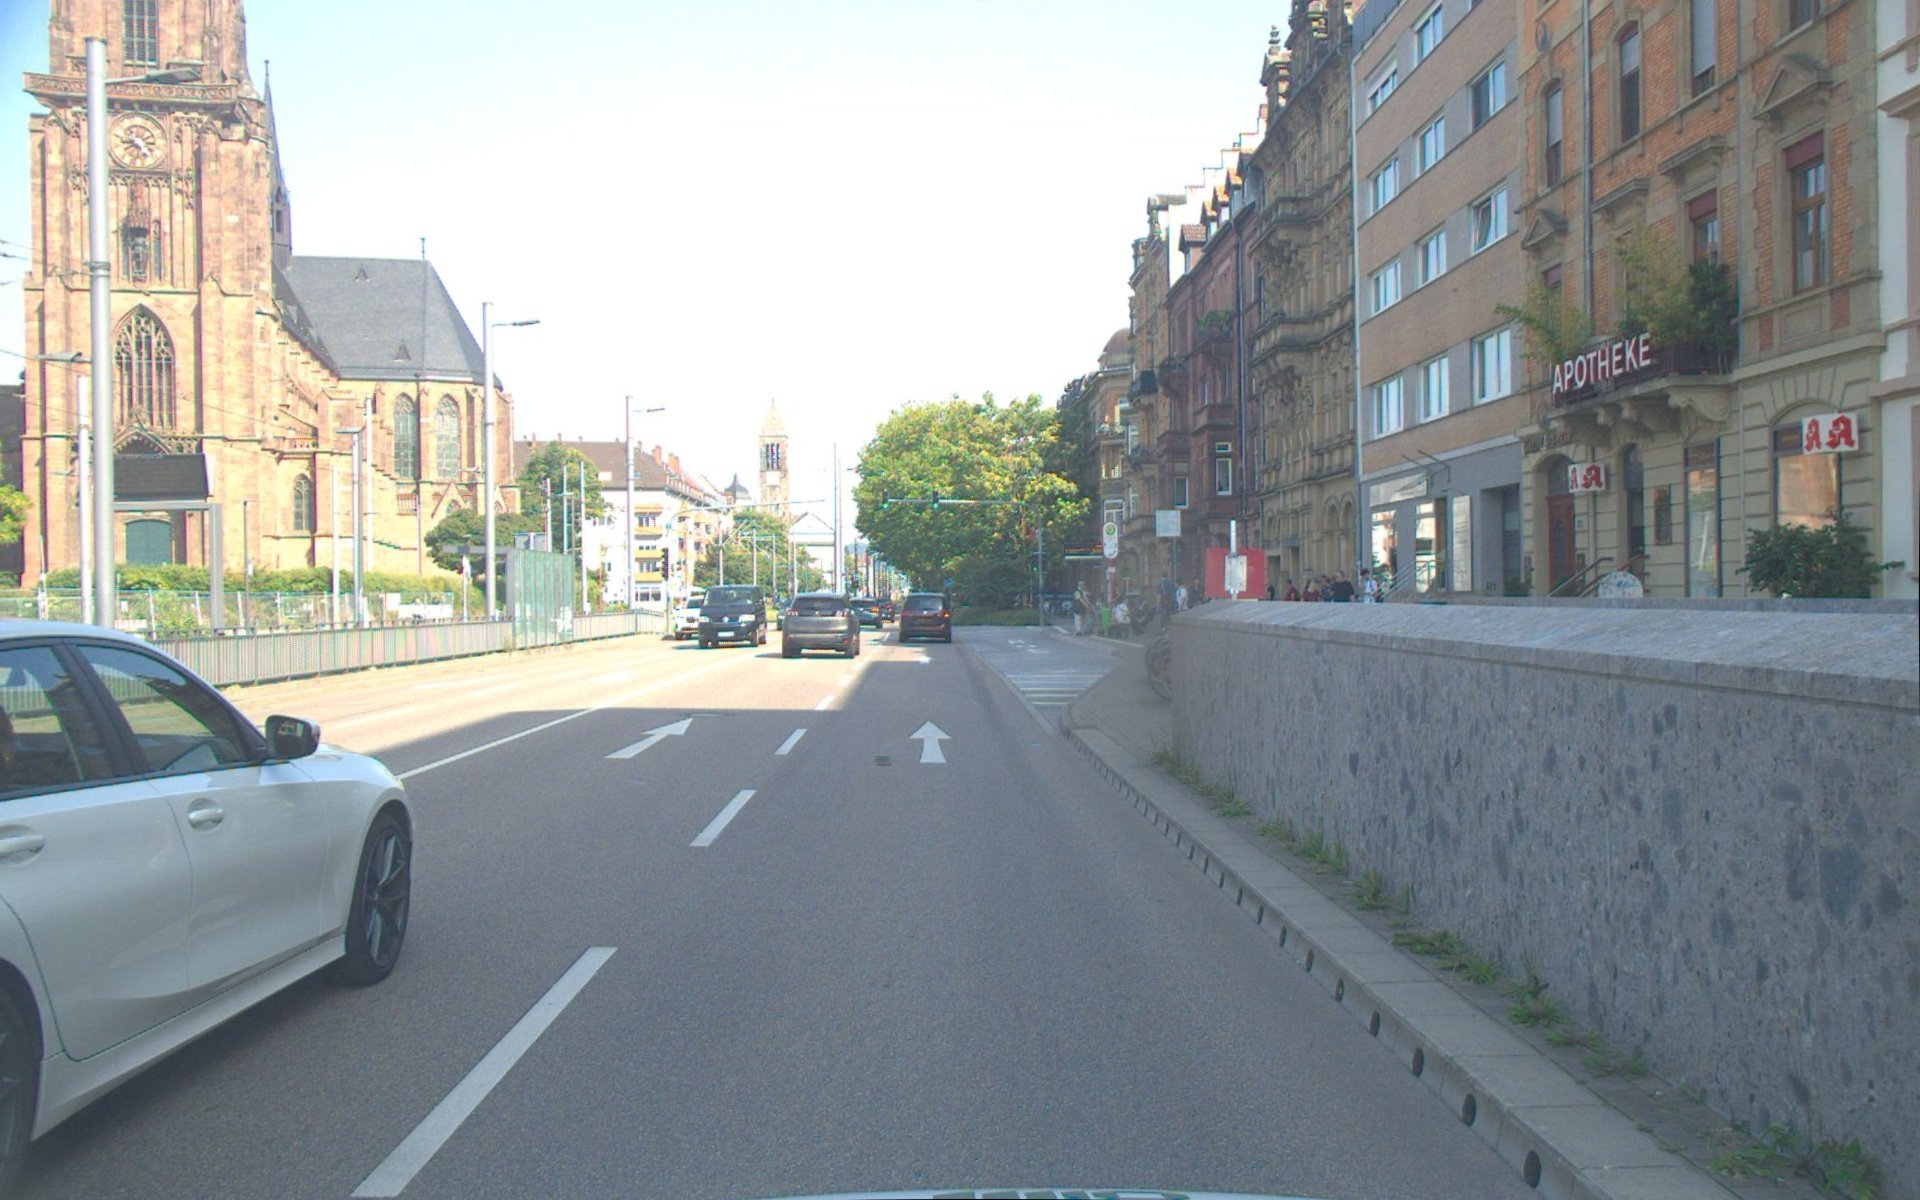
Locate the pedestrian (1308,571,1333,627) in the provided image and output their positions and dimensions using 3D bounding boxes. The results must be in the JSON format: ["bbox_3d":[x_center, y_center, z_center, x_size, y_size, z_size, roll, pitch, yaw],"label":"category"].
[{"bbox_3d":[11.262,-0.043,51.727,0.591,1.721,0.586,-1,0,-5],"label":"pedestrian"}]

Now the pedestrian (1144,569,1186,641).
[{"bbox_3d":[5.392,0.136,43.546,0.907,1.863,0.800,-1,0,-5],"label":"pedestrian"}]

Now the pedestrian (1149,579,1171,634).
[{"bbox_3d":[6.421,0.212,53.188,0.554,1.759,0.617,-1,0,-5],"label":"pedestrian"}]

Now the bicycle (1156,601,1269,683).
[{"bbox_3d":[3.752,0.621,24.608,1.601,1.168,0.385,-1,0,-6],"label":"bicycle"}]

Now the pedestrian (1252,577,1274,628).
[{"bbox_3d":[10.542,0.069,57.579,0.617,1.749,0.690,-1,0,-2],"label":"pedestrian"}]

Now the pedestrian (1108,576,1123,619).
[{"bbox_3d":[6.309,-0.099,67.280,0.471,1.731,0.702,-1,0,-5],"label":"pedestrian"}]

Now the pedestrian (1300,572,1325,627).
[{"bbox_3d":[11.172,-0.009,52.439,0.591,1.721,0.586,-1,0,-5],"label":"pedestrian"}]

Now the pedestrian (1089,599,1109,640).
[{"bbox_3d":[4.479,0.627,53.301,0.554,1.300,0.596,-1,0,-5],"label":"pedestrian"}]

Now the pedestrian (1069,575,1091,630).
[{"bbox_3d":[3.856,0.084,53.247,0.554,1.759,0.745,-1,0,-5],"label":"pedestrian"}]

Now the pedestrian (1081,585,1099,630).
[{"bbox_3d":[4.774,0.284,60.707,0.517,1.640,0.702,-1,0,-5],"label":"pedestrian"}]

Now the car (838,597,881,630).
[{"bbox_3d":[-4.755,0.621,78.608,1.826,1.449,4.356,0,0,-1],"label":"car"}]

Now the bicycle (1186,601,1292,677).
[{"bbox_3d":[4.486,0.622,26.655,1.599,1.168,0.601,-1,0,0],"label":"bicycle"}]

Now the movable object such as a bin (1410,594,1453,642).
[{"bbox_3d":[11.061,0.423,38.813,0.725,1.099,0.666,-1,0,-18],"label":"movable object such as a bin"}]

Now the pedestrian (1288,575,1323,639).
[{"bbox_3d":[8.988,0.172,43.053,0.705,1.638,0.856,-1,0,0],"label":"pedestrian"}]

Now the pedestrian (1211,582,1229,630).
[{"bbox_3d":[8.983,0.213,57.208,0.476,1.638,0.812,-1,0,0],"label":"pedestrian"}]

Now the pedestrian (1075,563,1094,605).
[{"bbox_3d":[5.077,-0.643,67.592,0.676,1.693,0.619,-1,0,-1],"label":"pedestrian"}]

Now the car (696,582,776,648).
[{"bbox_3d":[-7.108,0.435,52.831,1.953,1.937,4.715,-2,0,-2],"label":"car"}]

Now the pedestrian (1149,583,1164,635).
[{"bbox_3d":[6.704,0.296,56.528,0.334,1.763,0.805,-1,0,-4],"label":"pedestrian"}]

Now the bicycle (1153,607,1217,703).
[{"bbox_3d":[2.887,0.688,21.350,0.399,1.168,1.654,-1,0,-7],"label":"bicycle"}]

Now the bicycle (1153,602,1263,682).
[{"bbox_3d":[3.793,0.641,25.283,1.601,1.168,0.385,-1,0,-6],"label":"bicycle"}]

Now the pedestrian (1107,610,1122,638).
[{"bbox_3d":[4.822,0.741,51.599,0.297,0.834,0.603,-1,0,-9],"label":"pedestrian"}]

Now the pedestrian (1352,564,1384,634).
[{"bbox_3d":[11.002,-0.018,44.629,0.591,1.863,0.742,-1,0,-5],"label":"pedestrian"}]

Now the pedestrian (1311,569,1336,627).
[{"bbox_3d":[11.158,-0.075,50.768,0.591,1.761,0.510,-1,0,-5],"label":"pedestrian"}]

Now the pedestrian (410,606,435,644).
[{"bbox_3d":[-24.534,1.119,75.462,0.897,1.709,0.602,-1,0,20],"label":"pedestrian"}]

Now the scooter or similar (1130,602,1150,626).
[{"bbox_3d":[5.785,0.443,53.206,0.554,0.754,0.514,-1,0,-5],"label":"scooter or similar"}]

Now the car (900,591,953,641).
[{"bbox_3d":[-1.161,0.522,57.987,1.794,1.649,4.356,0,0,-1],"label":"car"}]

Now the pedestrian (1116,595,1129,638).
[{"bbox_3d":[4.928,0.499,50.135,0.270,1.296,0.447,-1,0,-8],"label":"pedestrian"}]

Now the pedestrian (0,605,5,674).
[{"bbox_3d":[-24.634,1.012,41.889,0.507,1.730,0.664,-1,0,-2],"label":"pedestrian"}]

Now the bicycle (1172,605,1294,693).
[{"bbox_3d":[3.788,0.673,22.977,1.601,1.168,0.385,-1,0,-6],"label":"bicycle"}]

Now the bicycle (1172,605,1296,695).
[{"bbox_3d":[3.723,0.673,22.508,1.601,1.168,0.385,-1,0,-6],"label":"bicycle"}]

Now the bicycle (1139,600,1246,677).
[{"bbox_3d":[3.653,0.595,26.002,1.601,1.168,0.385,-1,0,-6],"label":"bicycle"}]

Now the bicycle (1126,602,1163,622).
[{"bbox_3d":[9.900,0.640,88.579,1.891,1.066,0.499,-1,0,-7],"label":"bicycle"}]

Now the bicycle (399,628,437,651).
[{"bbox_3d":[-24.748,1.802,75.575,1.722,0.995,0.479,-1,0,21],"label":"bicycle"}]

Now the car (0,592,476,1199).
[{"bbox_3d":[-2.997,0.731,4.779,1.772,1.452,4.774,1,0,0],"label":"car"}]

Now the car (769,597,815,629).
[{"bbox_3d":[-7.605,0.563,75.314,1.678,1.354,4.519,-2,0,-2],"label":"car"}]

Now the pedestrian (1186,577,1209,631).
[{"bbox_3d":[8.215,0.135,57.135,0.604,1.835,1.071,-1,0,0],"label":"pedestrian"}]

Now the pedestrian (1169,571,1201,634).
[{"bbox_3d":[6.421,0.074,47.251,0.735,1.759,0.800,-1,0,-5],"label":"pedestrian"}]

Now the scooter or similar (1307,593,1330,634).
[{"bbox_3d":[10.726,0.402,49.531,0.353,1.183,1.151,-1,0,-4],"label":"scooter or similar"}]

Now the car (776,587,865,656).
[{"bbox_3d":[-3.502,0.509,42.096,1.953,1.649,4.356,0,0,-1],"label":"car"}]

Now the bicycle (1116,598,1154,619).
[{"bbox_3d":[9.272,0.441,87.590,1.891,1.066,0.499,-1,0,-7],"label":"bicycle"}]

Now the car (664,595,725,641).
[{"bbox_3d":[-10.263,0.664,64.220,1.678,1.639,4.503,-2,0,-2],"label":"car"}]

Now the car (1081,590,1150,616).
[{"bbox_3d":[10.062,0.164,107.087,4.099,1.590,1.998,-1,0,-6],"label":"car"}]

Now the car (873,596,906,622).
[{"bbox_3d":[-4.131,0.504,97.416,1.826,1.449,4.356,0,0,-1],"label":"car"}]

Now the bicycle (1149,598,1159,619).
[{"bbox_3d":[10.101,0.435,86.046,0.408,1.066,1.671,-1,0,4],"label":"bicycle"}]

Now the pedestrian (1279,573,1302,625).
[{"bbox_3d":[10.878,-0.027,54.404,0.591,1.683,0.587,-1,0,-2],"label":"pedestrian"}]

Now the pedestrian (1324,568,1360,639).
[{"bbox_3d":[9.914,0.083,42.912,0.705,1.818,0.856,-1,0,0],"label":"pedestrian"}]
